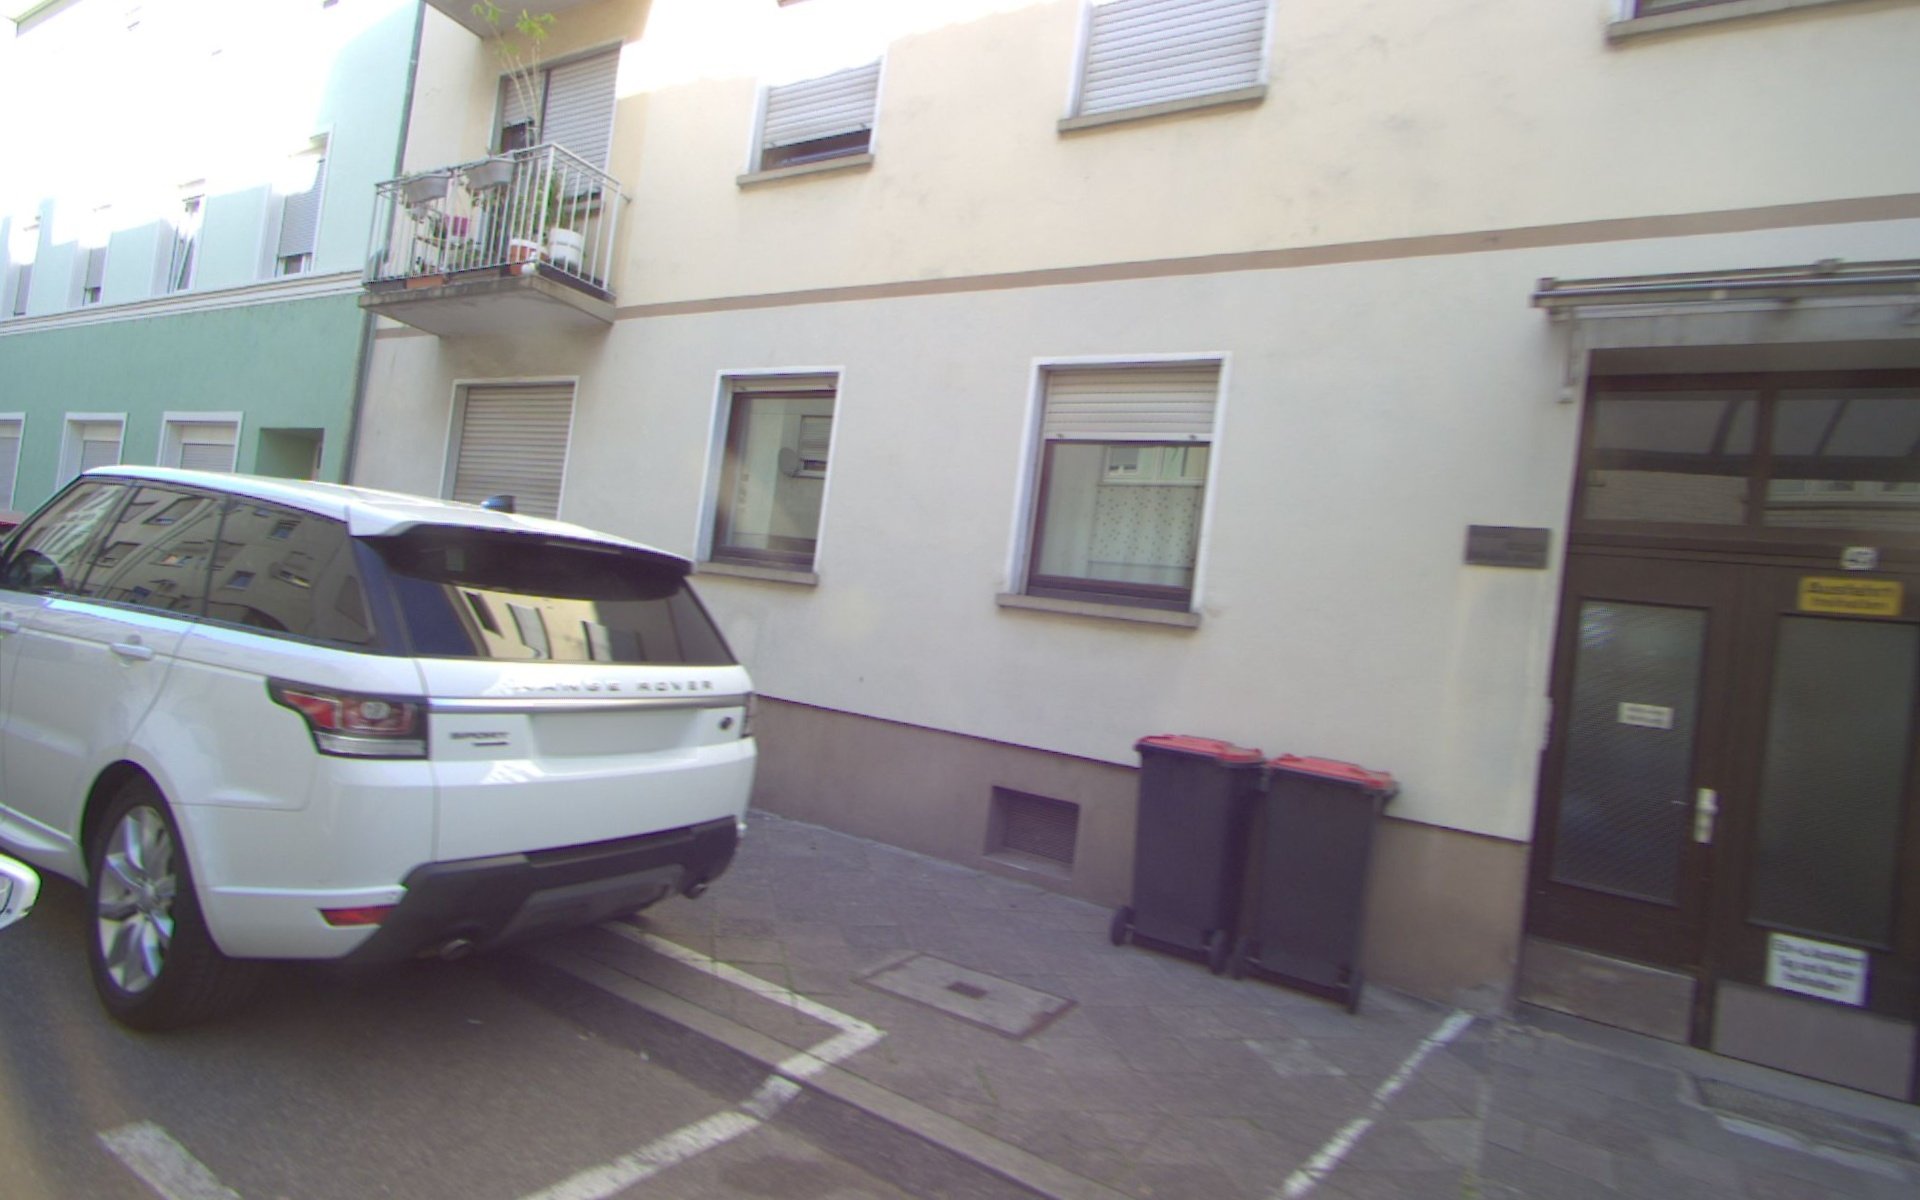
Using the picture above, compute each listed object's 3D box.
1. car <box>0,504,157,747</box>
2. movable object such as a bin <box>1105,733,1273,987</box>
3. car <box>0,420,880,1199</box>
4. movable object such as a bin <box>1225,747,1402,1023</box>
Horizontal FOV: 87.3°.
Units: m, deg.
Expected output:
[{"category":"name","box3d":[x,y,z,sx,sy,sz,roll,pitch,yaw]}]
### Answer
[{"category":"car","box3d":[-8.024,-0.030,7.554,3.965,1.587,1.745,7,-1,31]},{"category":"movable object such as a bin","box3d":[1.160,1.258,5.062,0.544,1.084,0.577,6,0,34]},{"category":"car","box3d":[-2.998,0.352,4.457,4.856,1.804,2.009,7,-2,32]},{"category":"movable object such as a bin","box3d":[1.666,1.282,4.720,0.544,1.084,0.577,6,0,34]}]
